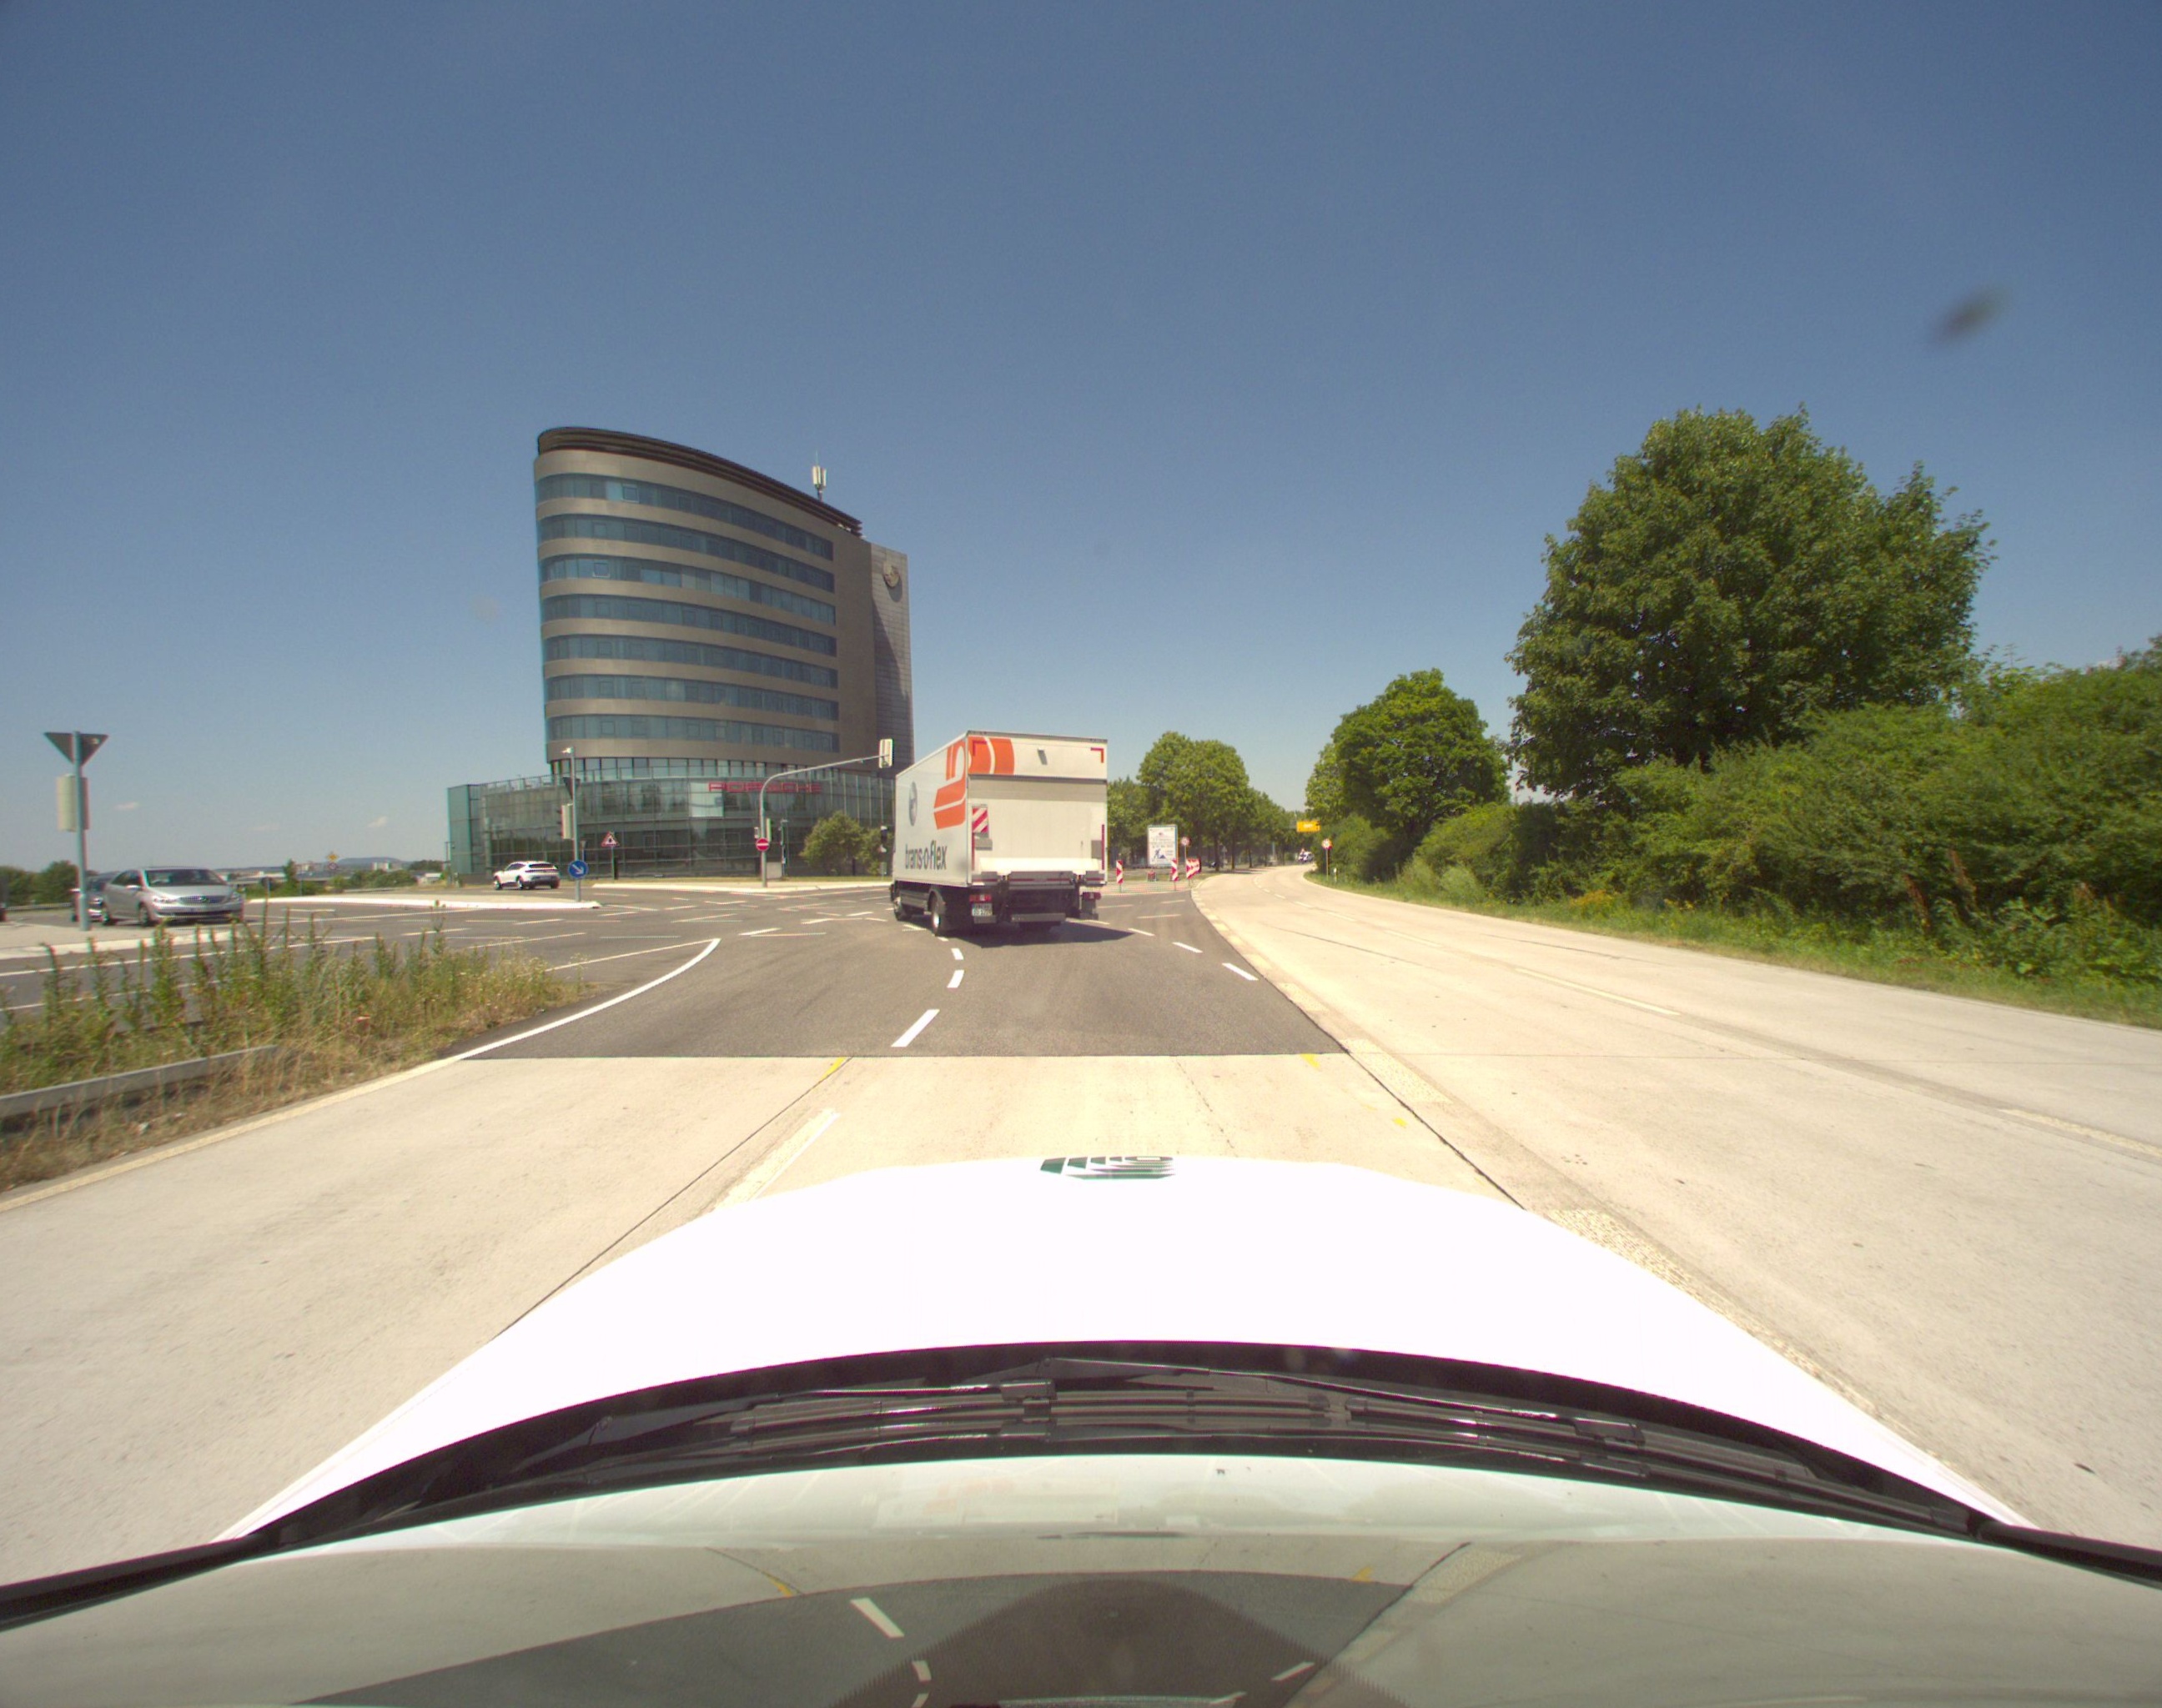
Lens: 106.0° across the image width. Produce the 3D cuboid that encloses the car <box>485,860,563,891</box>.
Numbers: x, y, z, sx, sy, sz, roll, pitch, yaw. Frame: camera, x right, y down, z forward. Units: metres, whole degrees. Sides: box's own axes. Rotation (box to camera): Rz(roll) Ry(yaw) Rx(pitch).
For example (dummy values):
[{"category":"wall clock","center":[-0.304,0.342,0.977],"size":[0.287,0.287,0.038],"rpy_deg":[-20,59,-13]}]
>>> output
[{"category":"car","center":[-29.527,1.123,43.170],"size":[3.949,1.557,1.819],"rpy_deg":[-1,-1,29]}]

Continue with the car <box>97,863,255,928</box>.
[{"category":"car","center":[-24.741,1.128,22.254],"size":[4.275,1.595,1.787],"rpy_deg":[-3,-2,26]}]

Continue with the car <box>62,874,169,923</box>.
[{"category":"car","center":[-31.443,1.467,26.491],"size":[4.273,1.456,1.708],"rpy_deg":[-3,-2,33]}]

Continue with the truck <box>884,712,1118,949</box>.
[{"category":"truck","center":[-2.331,-0.335,18.124],"size":[2.780,3.860,9.303],"rpy_deg":[-1,-1,-21]}]

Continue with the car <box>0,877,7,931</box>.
[{"category":"car","center":[-57.051,2.572,41.815],"size":[5.820,2.704,2.079],"rpy_deg":[-1,-1,39]}]
